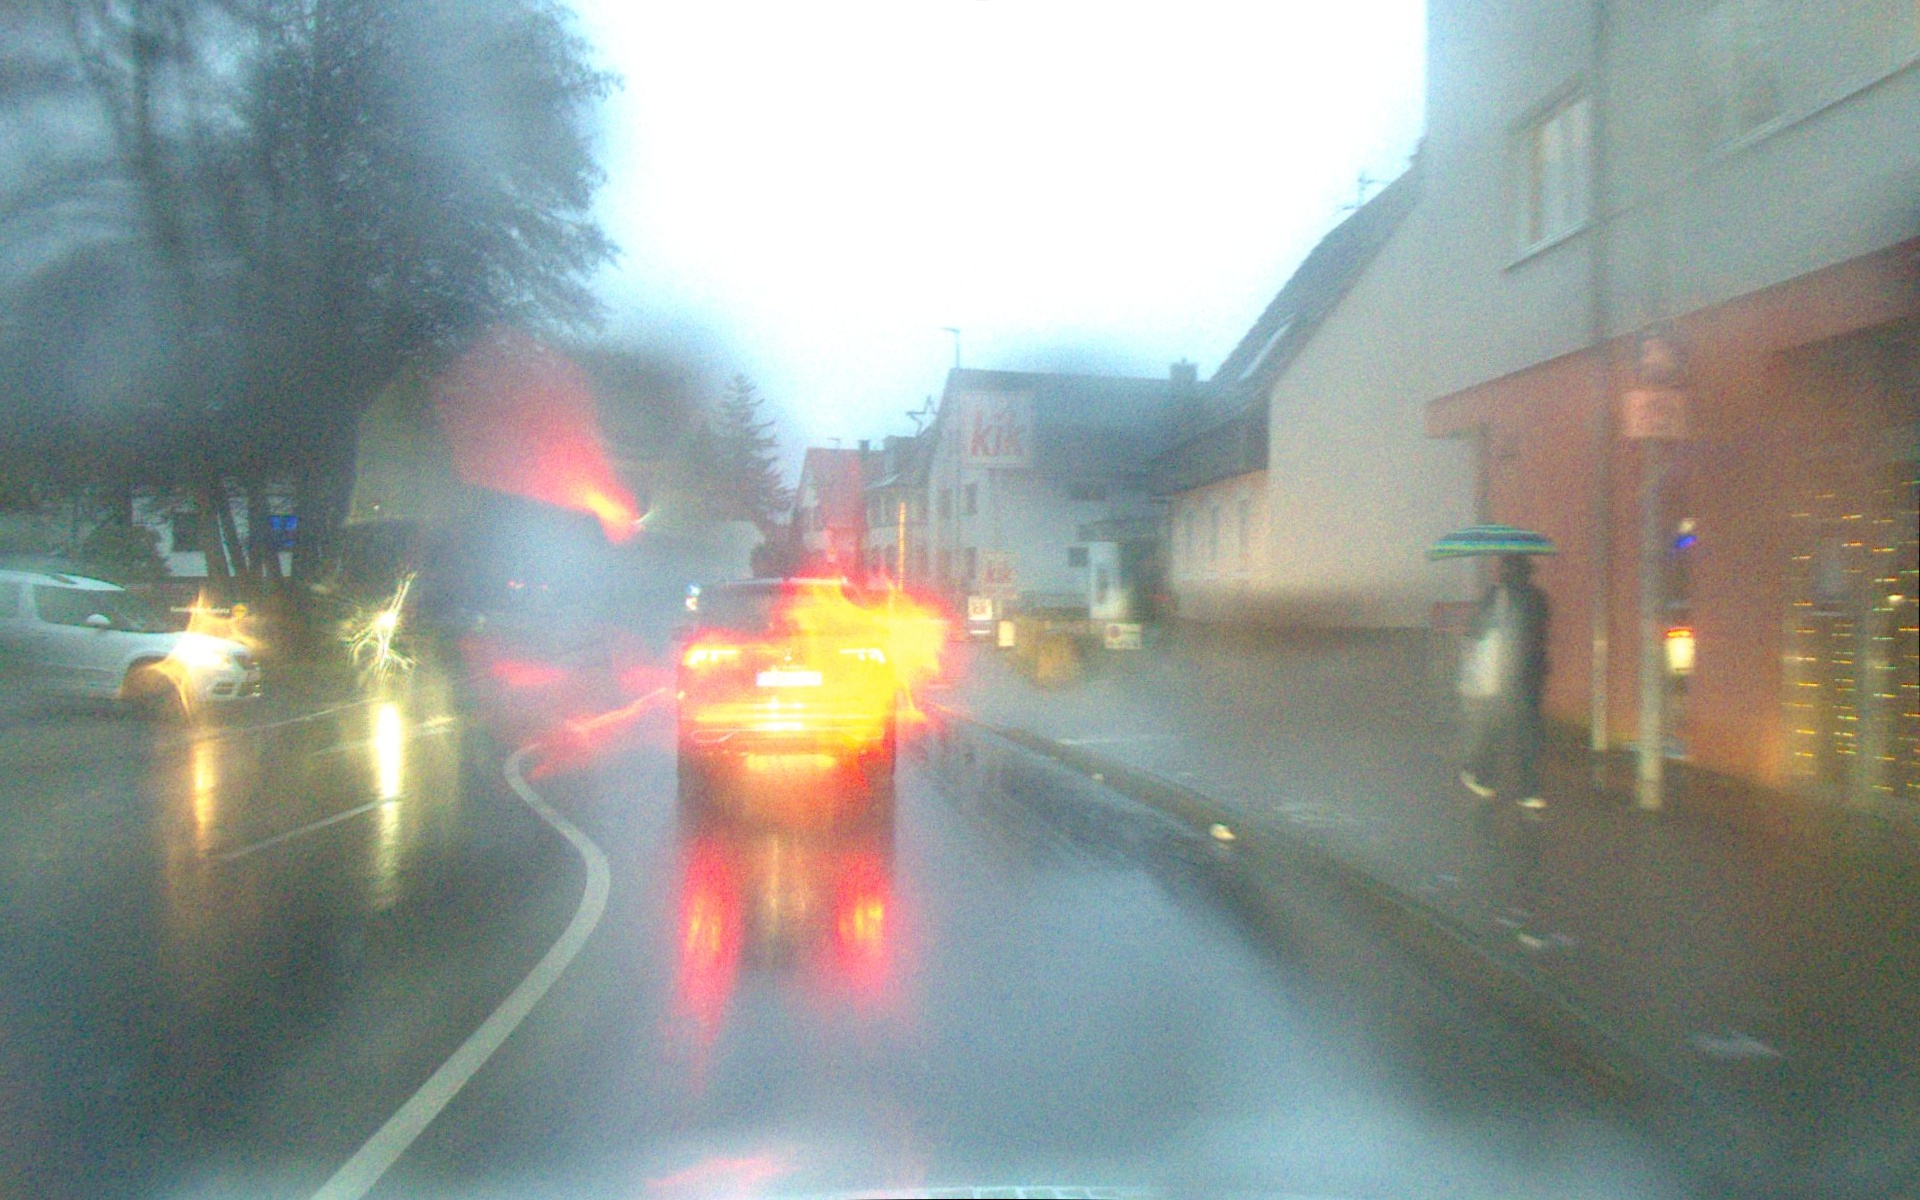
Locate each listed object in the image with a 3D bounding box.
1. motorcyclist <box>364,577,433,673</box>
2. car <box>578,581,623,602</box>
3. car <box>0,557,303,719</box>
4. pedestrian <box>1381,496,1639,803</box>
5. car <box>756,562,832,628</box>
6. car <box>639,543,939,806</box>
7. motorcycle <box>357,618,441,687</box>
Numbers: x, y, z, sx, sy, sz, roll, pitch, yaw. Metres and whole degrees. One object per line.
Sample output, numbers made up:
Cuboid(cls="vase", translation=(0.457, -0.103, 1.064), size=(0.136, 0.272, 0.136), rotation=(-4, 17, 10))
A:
Cuboid(cls="motorcyclist", translation=(-9.145, 0.400, 26.963), size=(0.849, 1.511, 0.907), rotation=(1, 0, -7))
Cuboid(cls="car", translation=(-35.428, -0.803, 162.856), size=(4.183, 2.049, 1.801), rotation=(0, 0, -19))
Cuboid(cls="car", translation=(-10.450, 0.420, 20.154), size=(4.151, 1.729, 1.895), rotation=(3, 0, -11))
Cuboid(cls="pedestrian", translation=(3.635, 0.305, 11.079), size=(1.229, 1.898, 1.303), rotation=(-1, 0, -2))
Cuboid(cls="car", translation=(-5.224, -0.162, 52.080), size=(2.265, 1.972, 5.012), rotation=(0, 0, -6))
Cuboid(cls="car", translation=(-1.641, 0.558, 15.034), size=(2.266, 1.972, 5.008), rotation=(0, 0, -8))
Cuboid(cls="motorcycle", translation=(-9.180, 0.840, 27.143), size=(0.849, 1.042, 2.106), rotation=(1, 0, -7))
